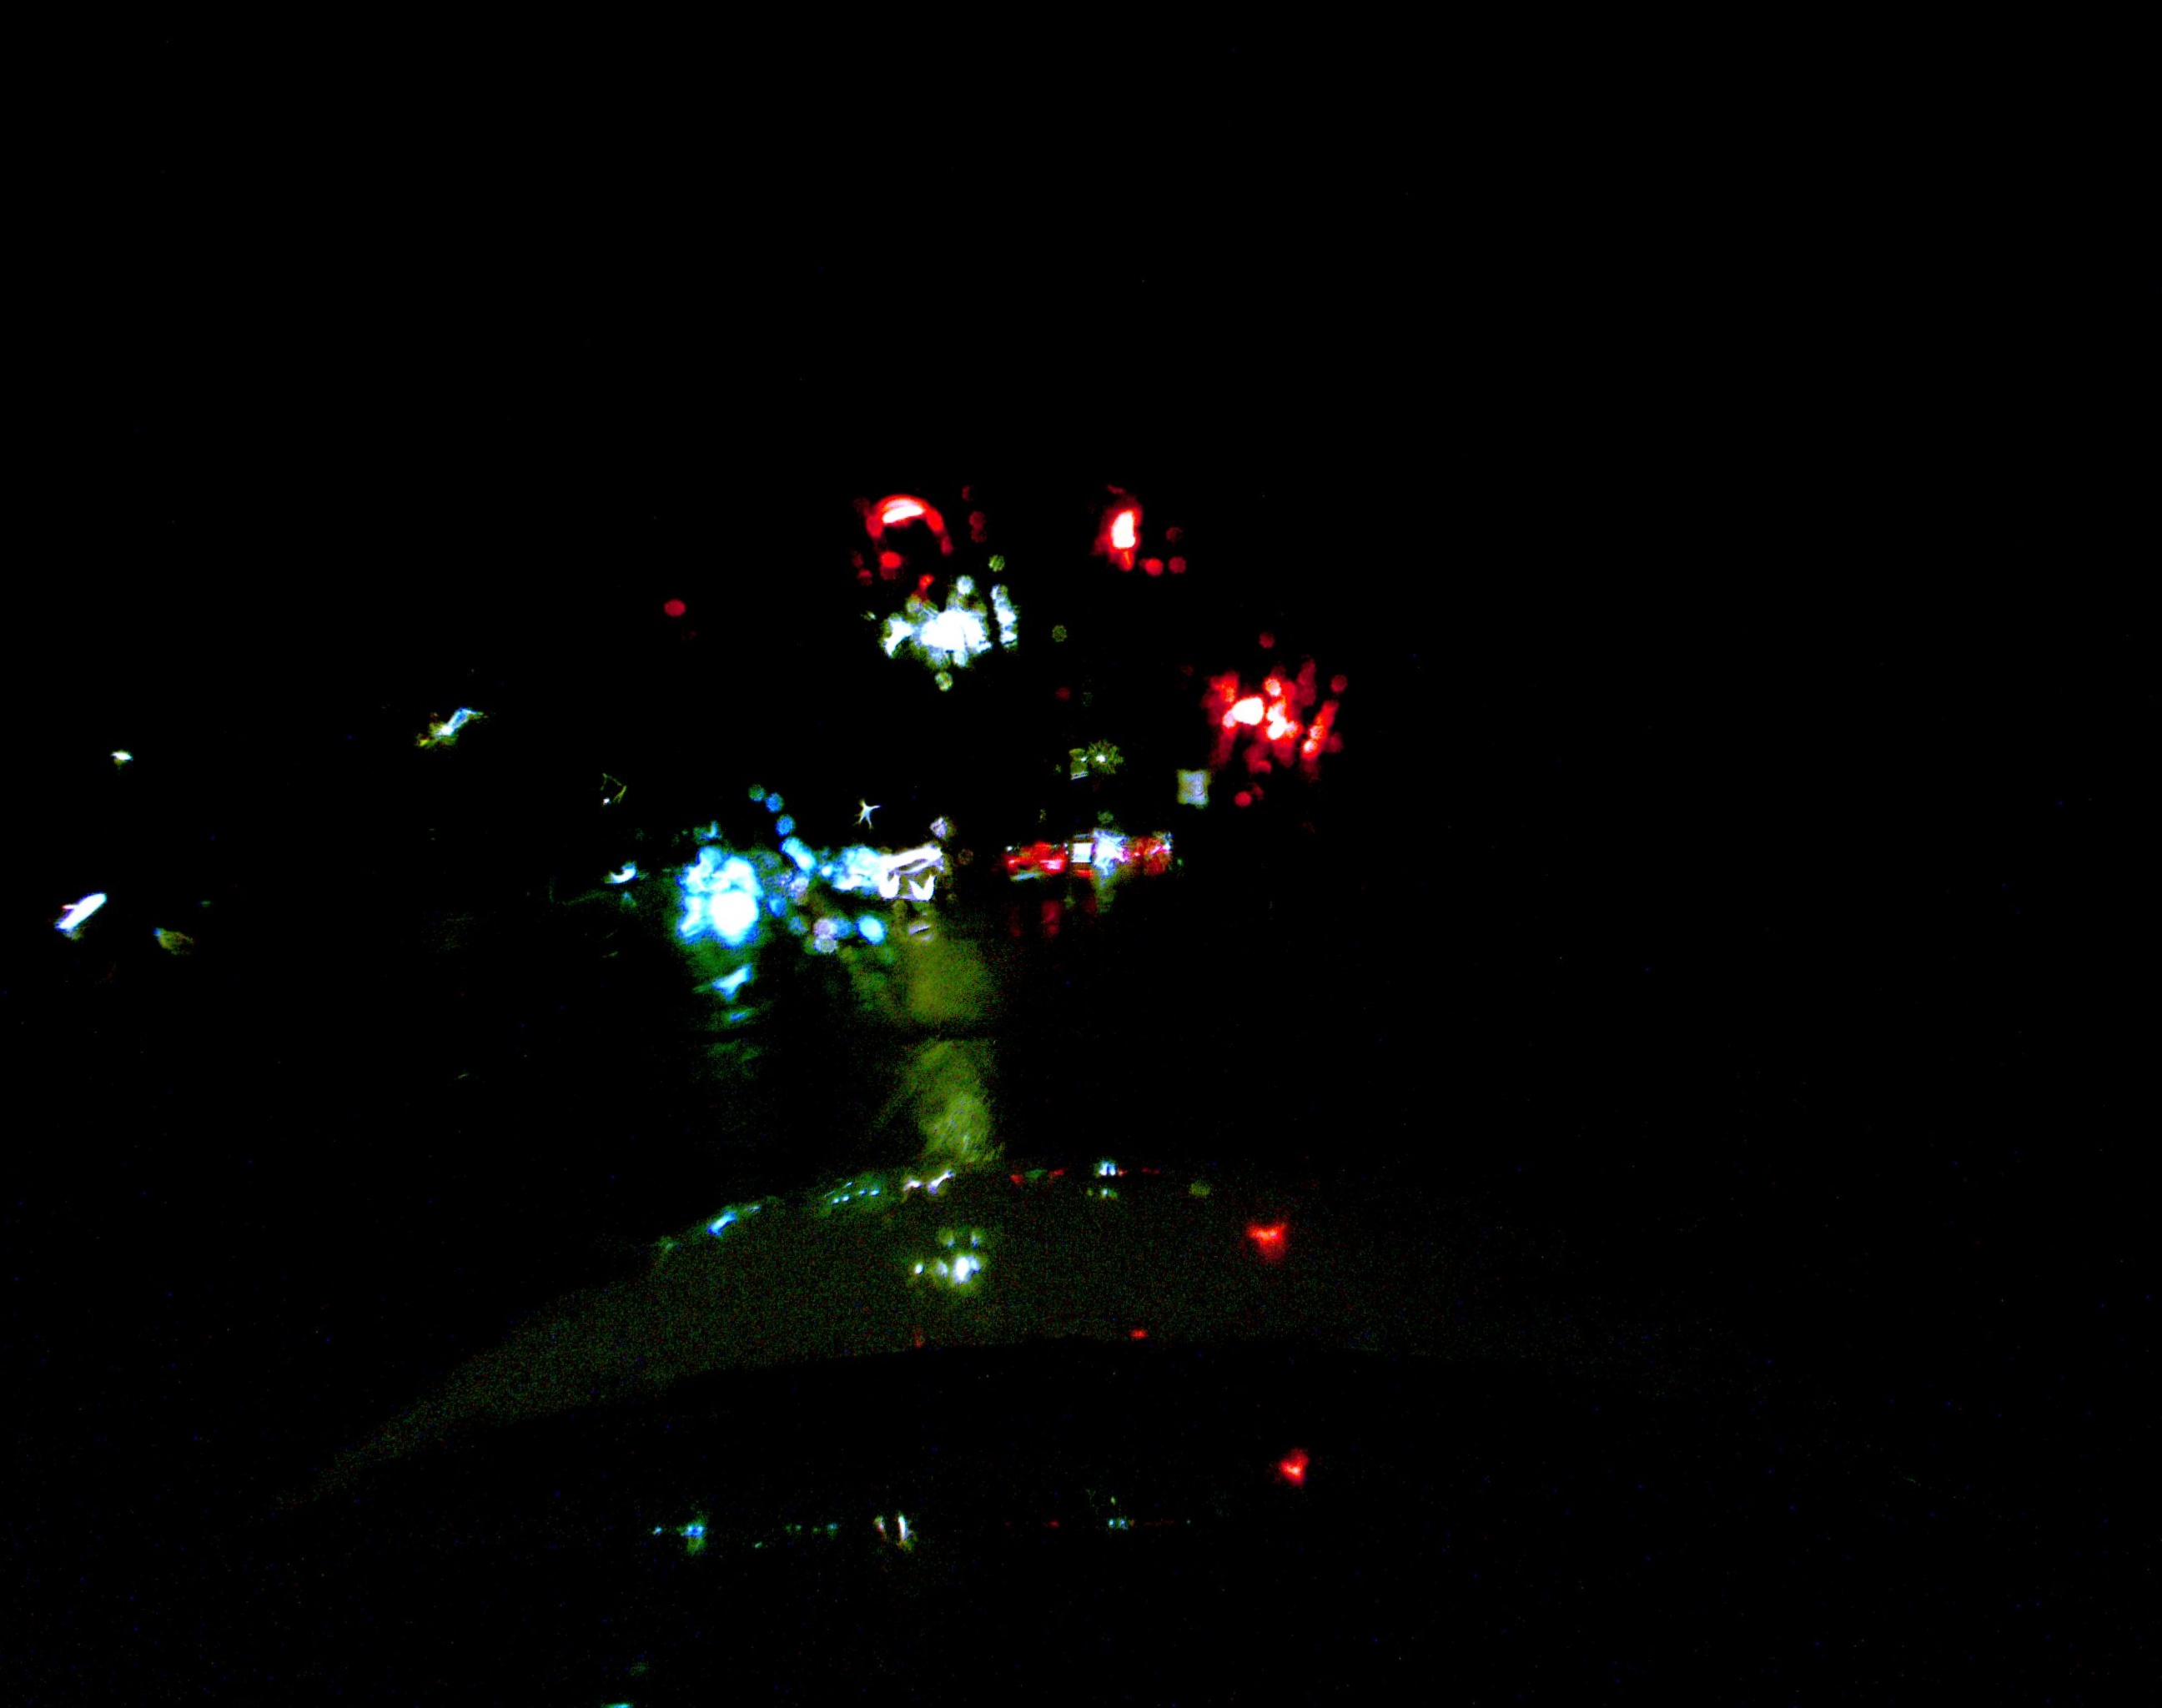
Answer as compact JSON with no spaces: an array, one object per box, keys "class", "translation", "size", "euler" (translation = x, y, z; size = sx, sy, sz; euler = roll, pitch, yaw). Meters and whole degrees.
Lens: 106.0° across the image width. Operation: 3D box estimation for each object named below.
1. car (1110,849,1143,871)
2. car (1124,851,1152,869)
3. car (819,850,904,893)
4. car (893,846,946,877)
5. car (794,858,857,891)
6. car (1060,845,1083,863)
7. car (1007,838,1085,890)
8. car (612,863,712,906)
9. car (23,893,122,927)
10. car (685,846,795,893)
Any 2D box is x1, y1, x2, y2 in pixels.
[{"class":"car","translation":[3.068,0.411,55.192],"size":[2.094,1.439,4.002],"euler":[-1,-1,2]},{"class":"car","translation":[4.537,0.465,65.069],"size":[2.098,1.339,4.297],"euler":[-1,-1,2]},{"class":"car","translation":[-8.880,0.662,33.412],"size":[1.690,1.571,4.720],"euler":[-1,0,6]},{"class":"car","translation":[-8.220,0.387,41.756],"size":[1.577,1.526,3.658],"euler":[-1,-1,6]},{"class":"car","translation":[-12.221,0.960,39.227],"size":[1.661,1.454,3.731],"euler":[-1,-1,3]},{"class":"car","translation":[-0.933,-0.015,80.870],"size":[1.708,1.703,4.152],"euler":[-1,0,8]},{"class":"car","translation":[-1.087,0.332,27.611],"size":[1.983,1.610,4.110],"euler":[-1,-1,6]},{"class":"car","translation":[-19.999,1.410,38.915],"size":[4.016,1.831,1.703],"euler":[-2,1,-34]},{"class":"car","translation":[-52.834,2.869,42.763],"size":[1.664,1.498,4.334],"euler":[-4,0,-29]},{"class":"car","translation":[-12.480,0.514,30.220],"size":[1.785,1.571,4.917],"euler":[-1,0,2]}]
